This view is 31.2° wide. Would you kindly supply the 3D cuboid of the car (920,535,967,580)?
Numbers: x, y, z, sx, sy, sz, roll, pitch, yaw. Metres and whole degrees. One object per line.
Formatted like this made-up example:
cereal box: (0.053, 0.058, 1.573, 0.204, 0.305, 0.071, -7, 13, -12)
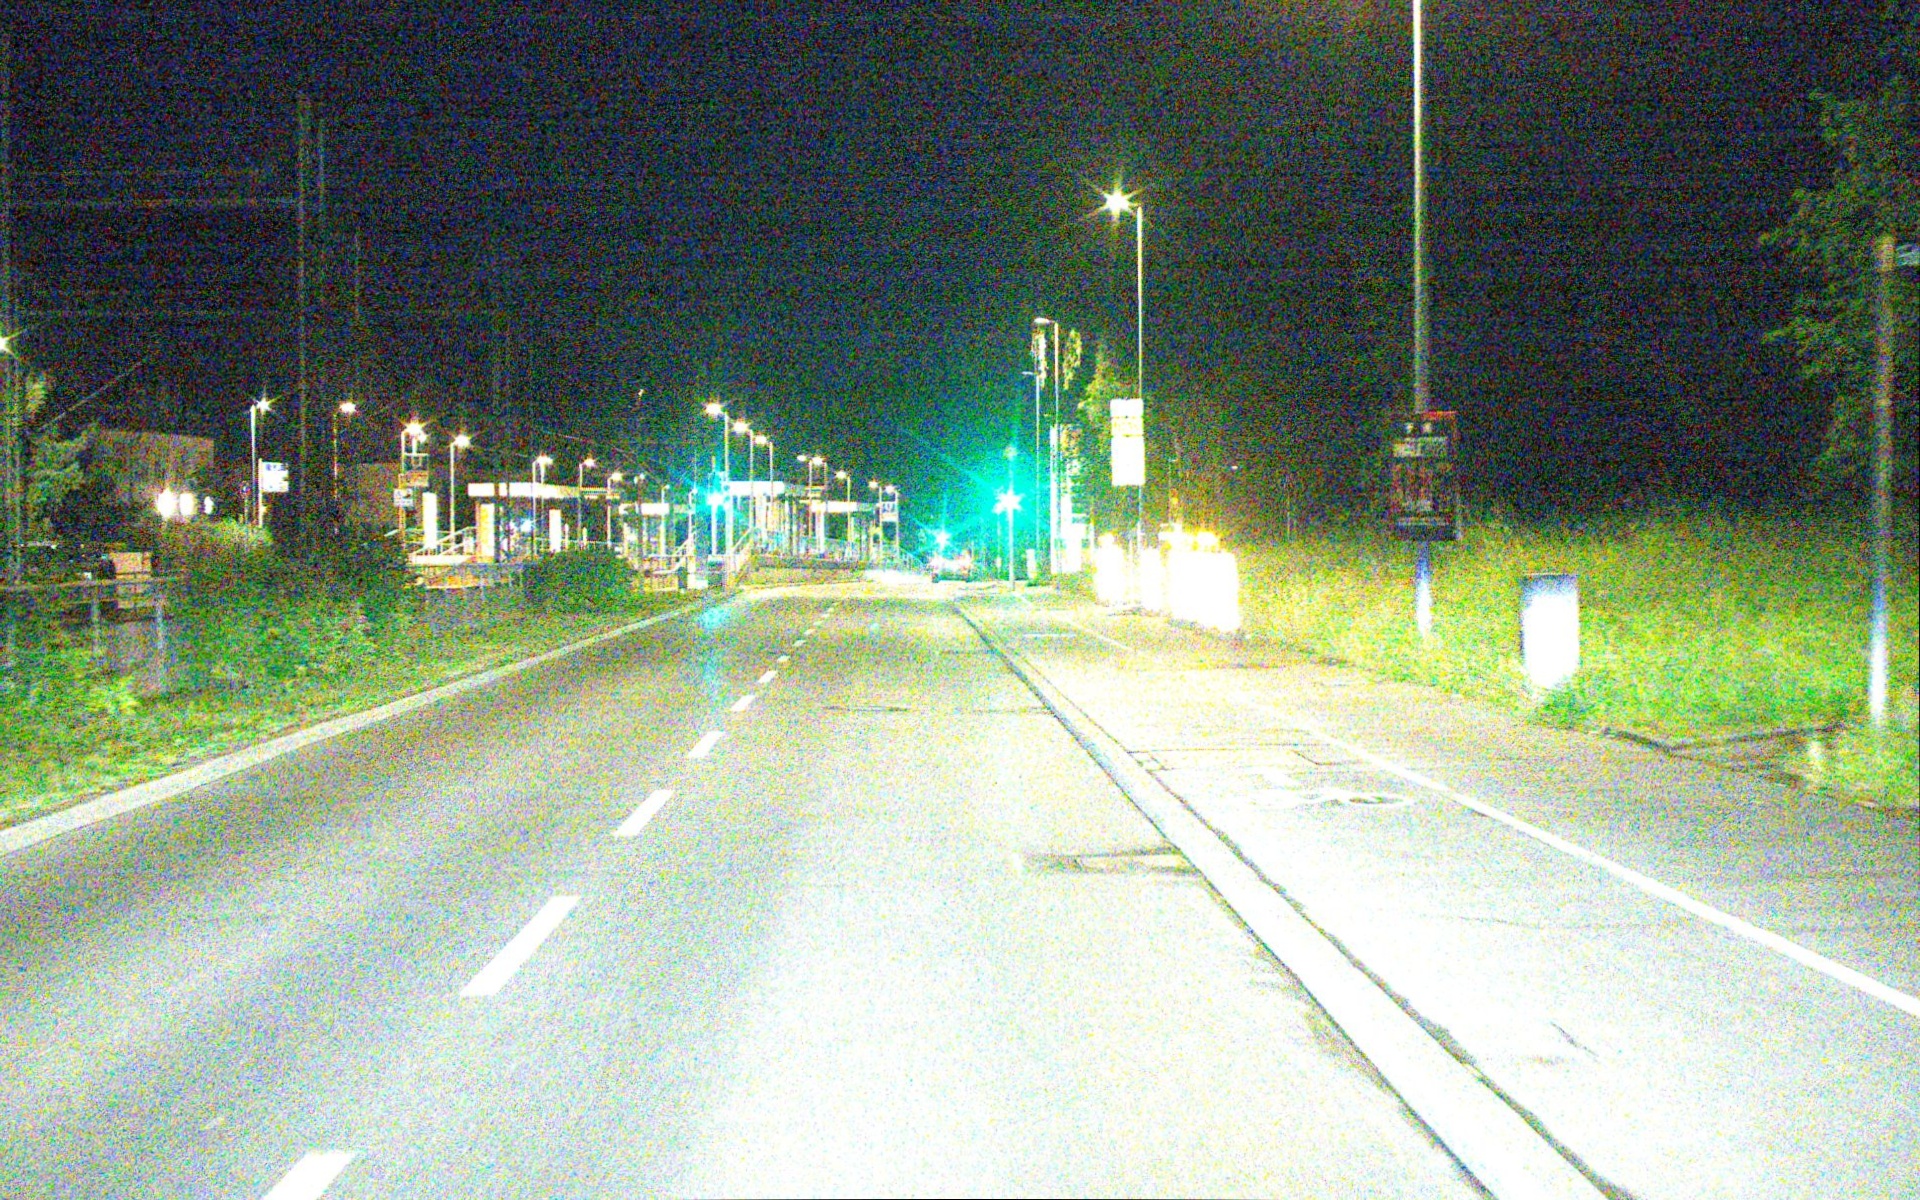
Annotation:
car: (-0.745, -1.965, 158.310, 2.087, 2.007, 4.000, 0, 1, 0)
